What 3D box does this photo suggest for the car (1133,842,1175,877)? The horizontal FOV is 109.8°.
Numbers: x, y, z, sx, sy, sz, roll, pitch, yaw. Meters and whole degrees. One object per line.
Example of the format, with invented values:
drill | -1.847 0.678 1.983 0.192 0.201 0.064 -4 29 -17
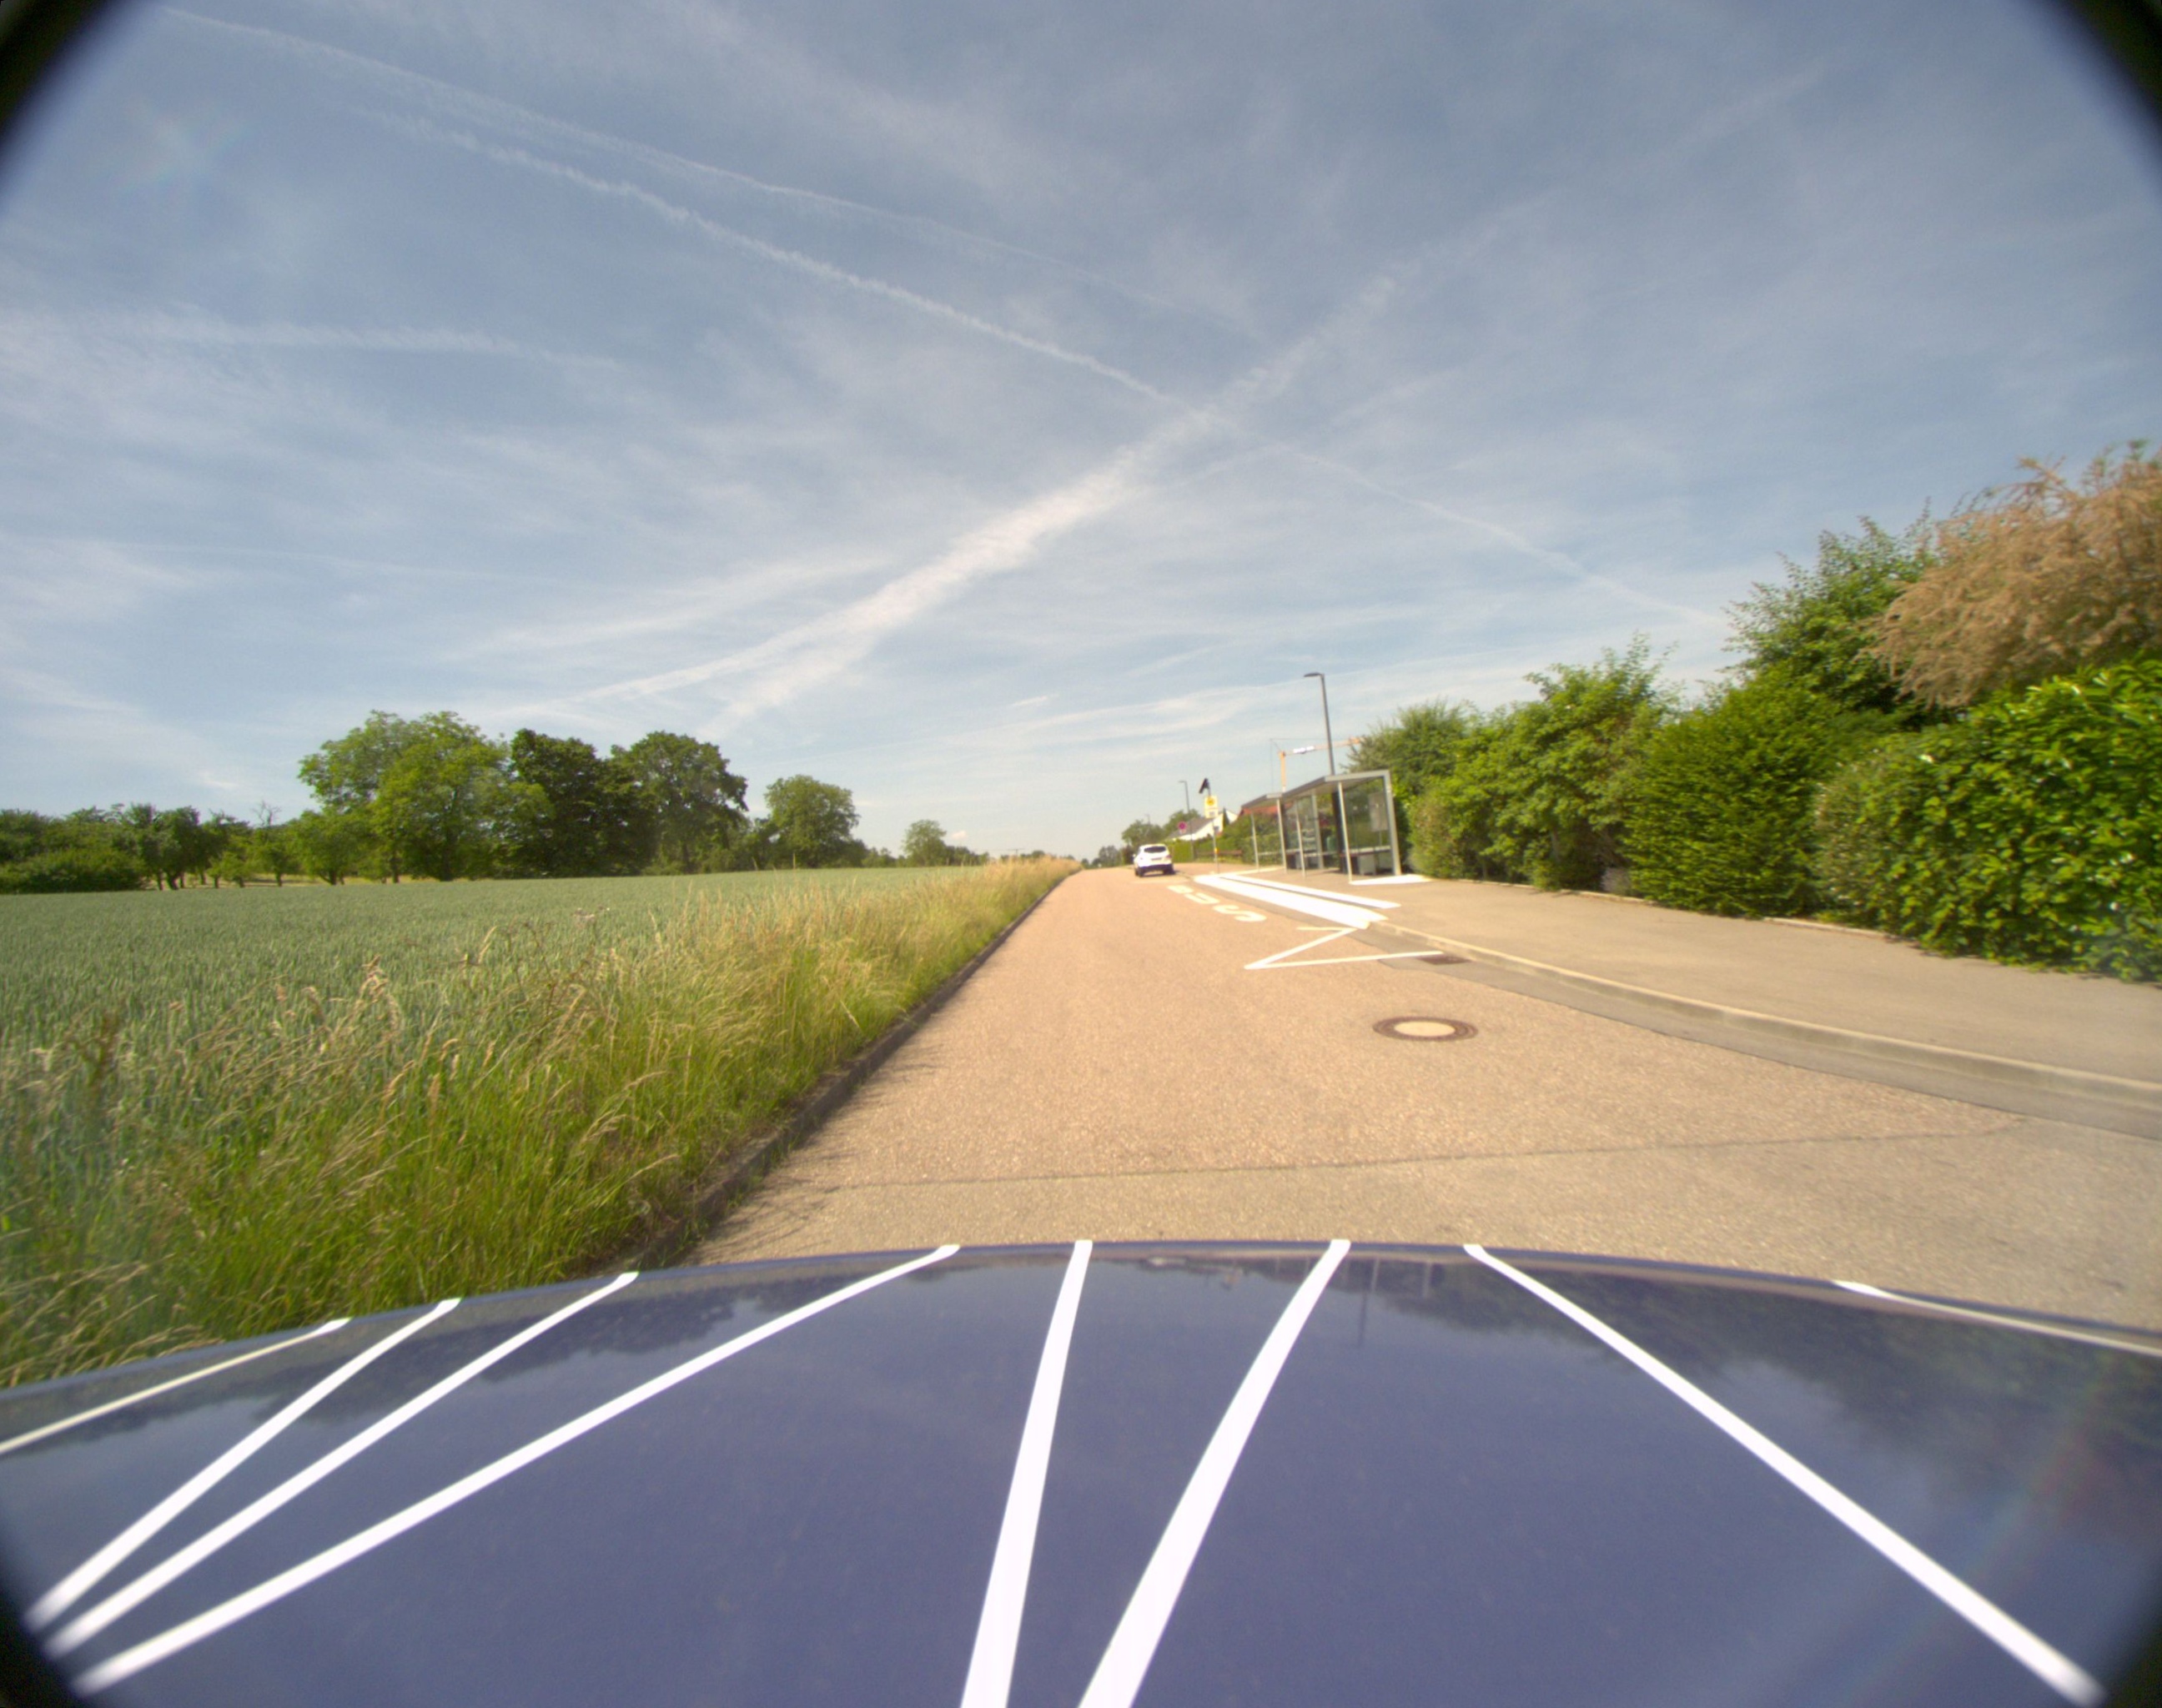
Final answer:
car | 3.839 0.273 40.621 1.738 1.624 4.352 -5 0 0
